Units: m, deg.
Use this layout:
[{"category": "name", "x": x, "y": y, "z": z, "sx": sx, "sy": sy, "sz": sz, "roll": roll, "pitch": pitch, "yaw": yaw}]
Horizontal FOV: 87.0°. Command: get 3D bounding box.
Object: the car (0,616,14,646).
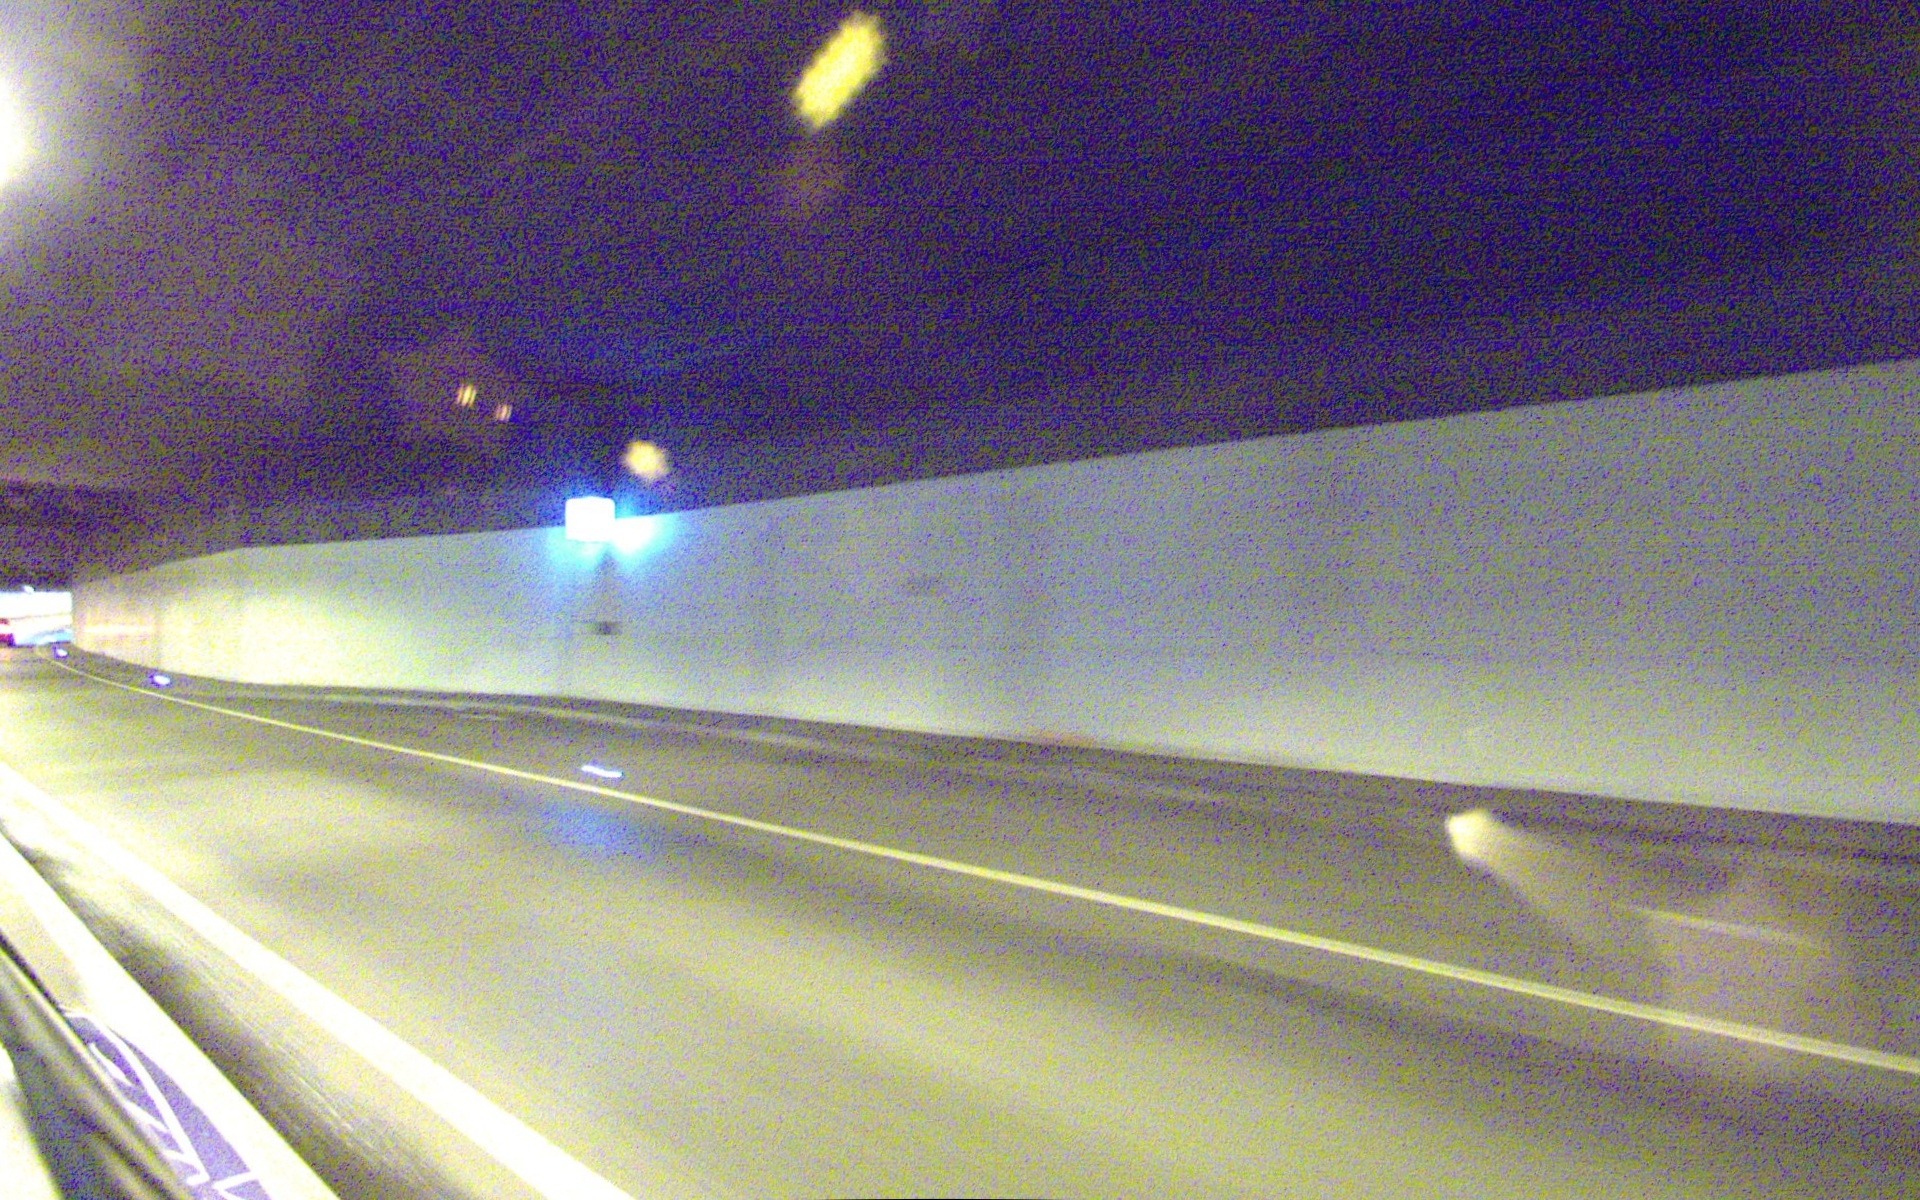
[{"category": "car", "x": -47.990, "y": 1.522, "z": 50.019, "sx": 1.686, "sy": 1.426, "sz": 4.123, "roll": 0, "pitch": -1, "yaw": -42}]
